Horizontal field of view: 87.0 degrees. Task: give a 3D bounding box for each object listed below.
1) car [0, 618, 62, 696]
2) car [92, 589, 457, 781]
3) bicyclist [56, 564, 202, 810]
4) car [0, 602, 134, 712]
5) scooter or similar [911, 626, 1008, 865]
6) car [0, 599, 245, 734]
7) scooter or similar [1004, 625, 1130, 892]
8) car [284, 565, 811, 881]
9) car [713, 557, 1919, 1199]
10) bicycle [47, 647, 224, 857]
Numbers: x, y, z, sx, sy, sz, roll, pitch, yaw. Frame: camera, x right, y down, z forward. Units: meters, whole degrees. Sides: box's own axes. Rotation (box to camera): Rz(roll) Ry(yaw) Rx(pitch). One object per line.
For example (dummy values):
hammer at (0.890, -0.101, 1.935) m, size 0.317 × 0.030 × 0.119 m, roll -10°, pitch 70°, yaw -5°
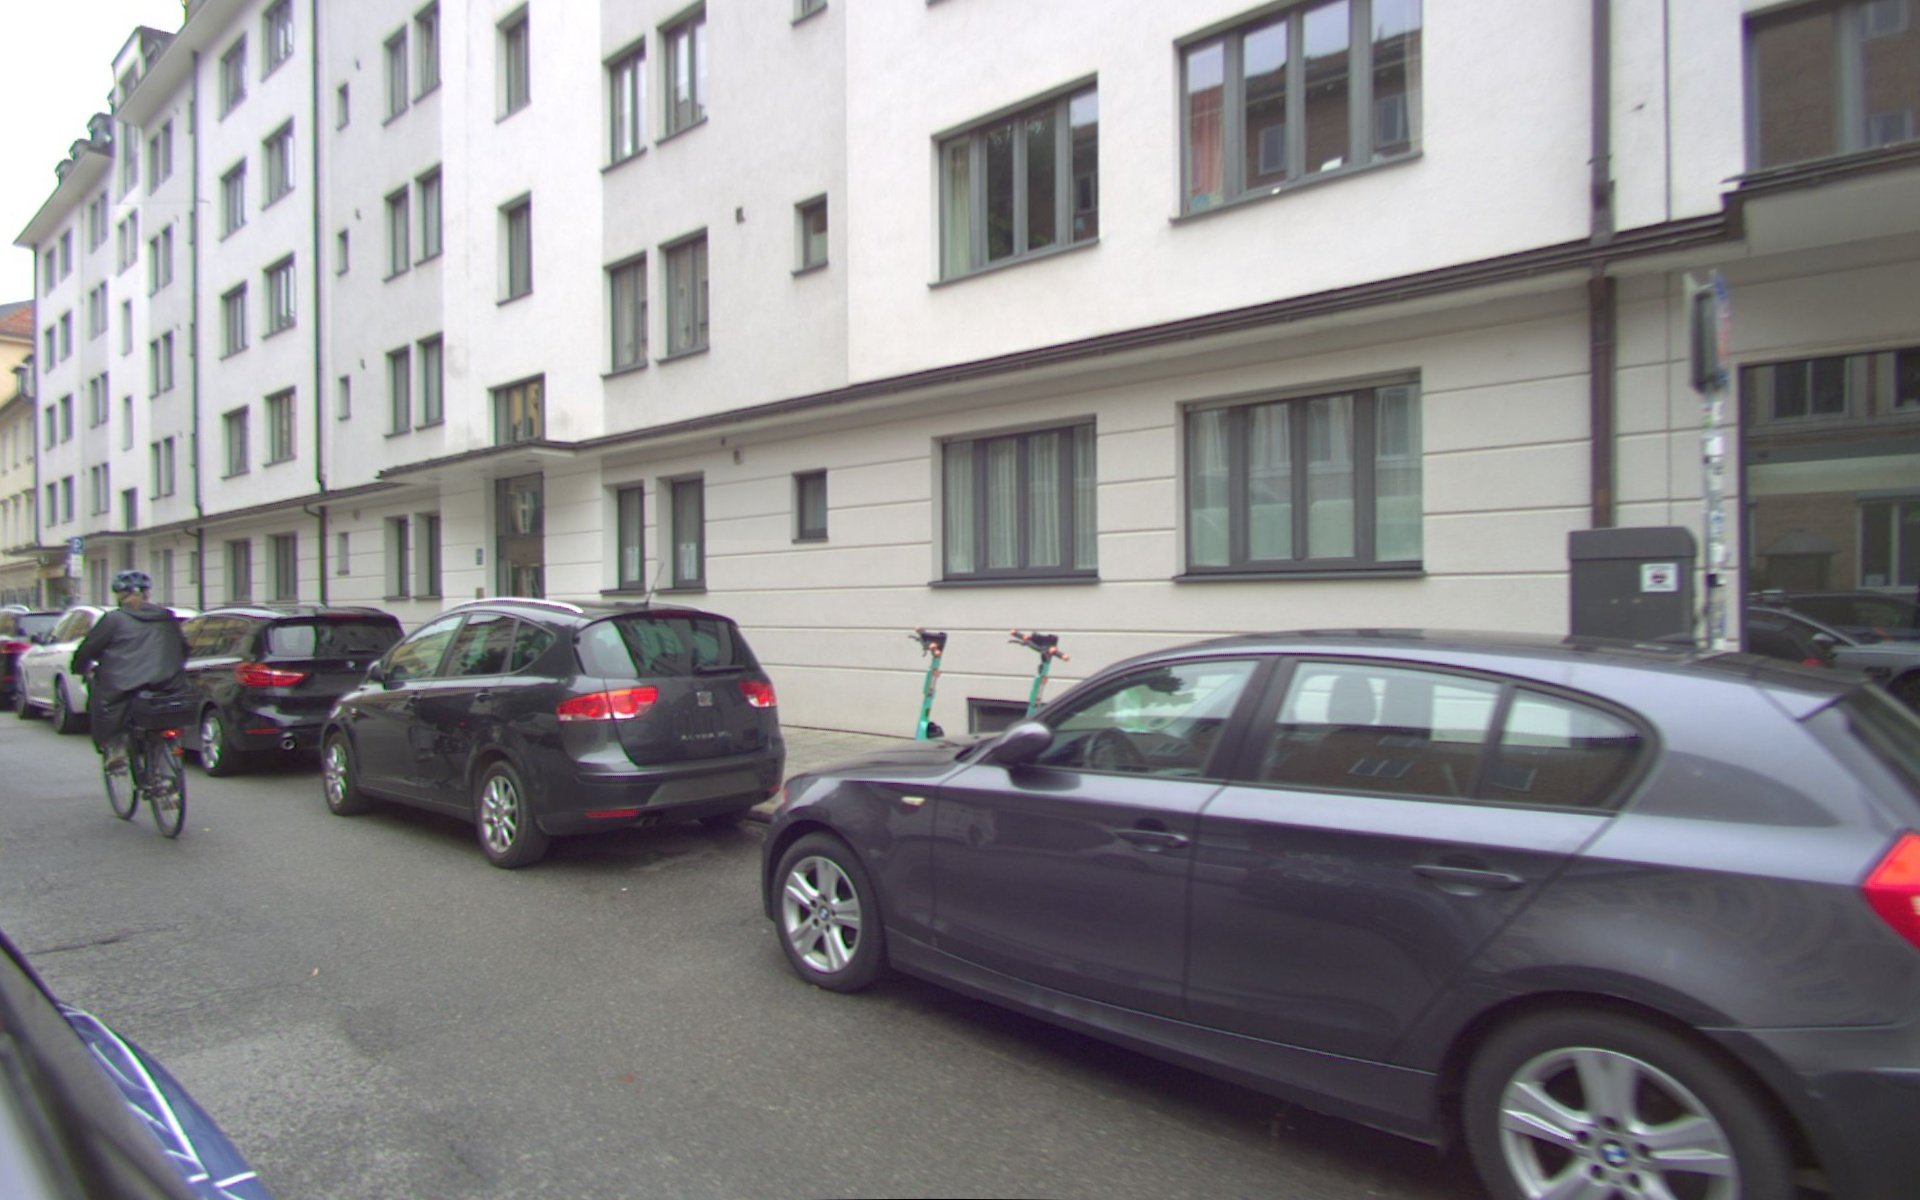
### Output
car at (-20.714, 1.196, 21.493) m, size 4.154 × 1.551 × 1.756 m, roll -2°, pitch -3°, yaw 39°
car at (-7.516, 0.827, 10.939) m, size 4.582 × 1.671 × 1.855 m, roll -2°, pitch -3°, yaw 37°
bicyclist at (-5.725, 0.557, 6.968) m, size 0.887 × 1.562 × 0.650 m, roll -1°, pitch -1°, yaw 42°
car at (-16.212, 0.967, 17.672) m, size 4.515 × 1.701 × 1.854 m, roll -2°, pitch -3°, yaw 39°
scooter or similar at (-0.025, 0.848, 6.383) m, size 0.222 × 1.366 × 1.122 m, roll 0°, pitch -2°, yaw -21°
car at (-12.221, 0.907, 14.660) m, size 4.585 × 1.671 × 1.854 m, roll -2°, pitch -3°, yaw 39°
scooter or similar at (0.578, 0.827, 5.765) m, size 0.222 × 1.366 × 1.122 m, roll 0°, pitch -2°, yaw -21°
car at (-3.153, 0.733, 7.395) m, size 4.075 × 1.671 × 1.854 m, roll -2°, pitch -3°, yaw 39°
car at (1.007, 0.729, 3.560) m, size 4.015 × 1.464 × 1.731 m, roll -2°, pitch -3°, yaw 43°
bicycle at (-5.721, 0.955, 6.978) m, size 1.949 × 1.206 × 0.642 m, roll -1°, pitch -1°, yaw 42°
